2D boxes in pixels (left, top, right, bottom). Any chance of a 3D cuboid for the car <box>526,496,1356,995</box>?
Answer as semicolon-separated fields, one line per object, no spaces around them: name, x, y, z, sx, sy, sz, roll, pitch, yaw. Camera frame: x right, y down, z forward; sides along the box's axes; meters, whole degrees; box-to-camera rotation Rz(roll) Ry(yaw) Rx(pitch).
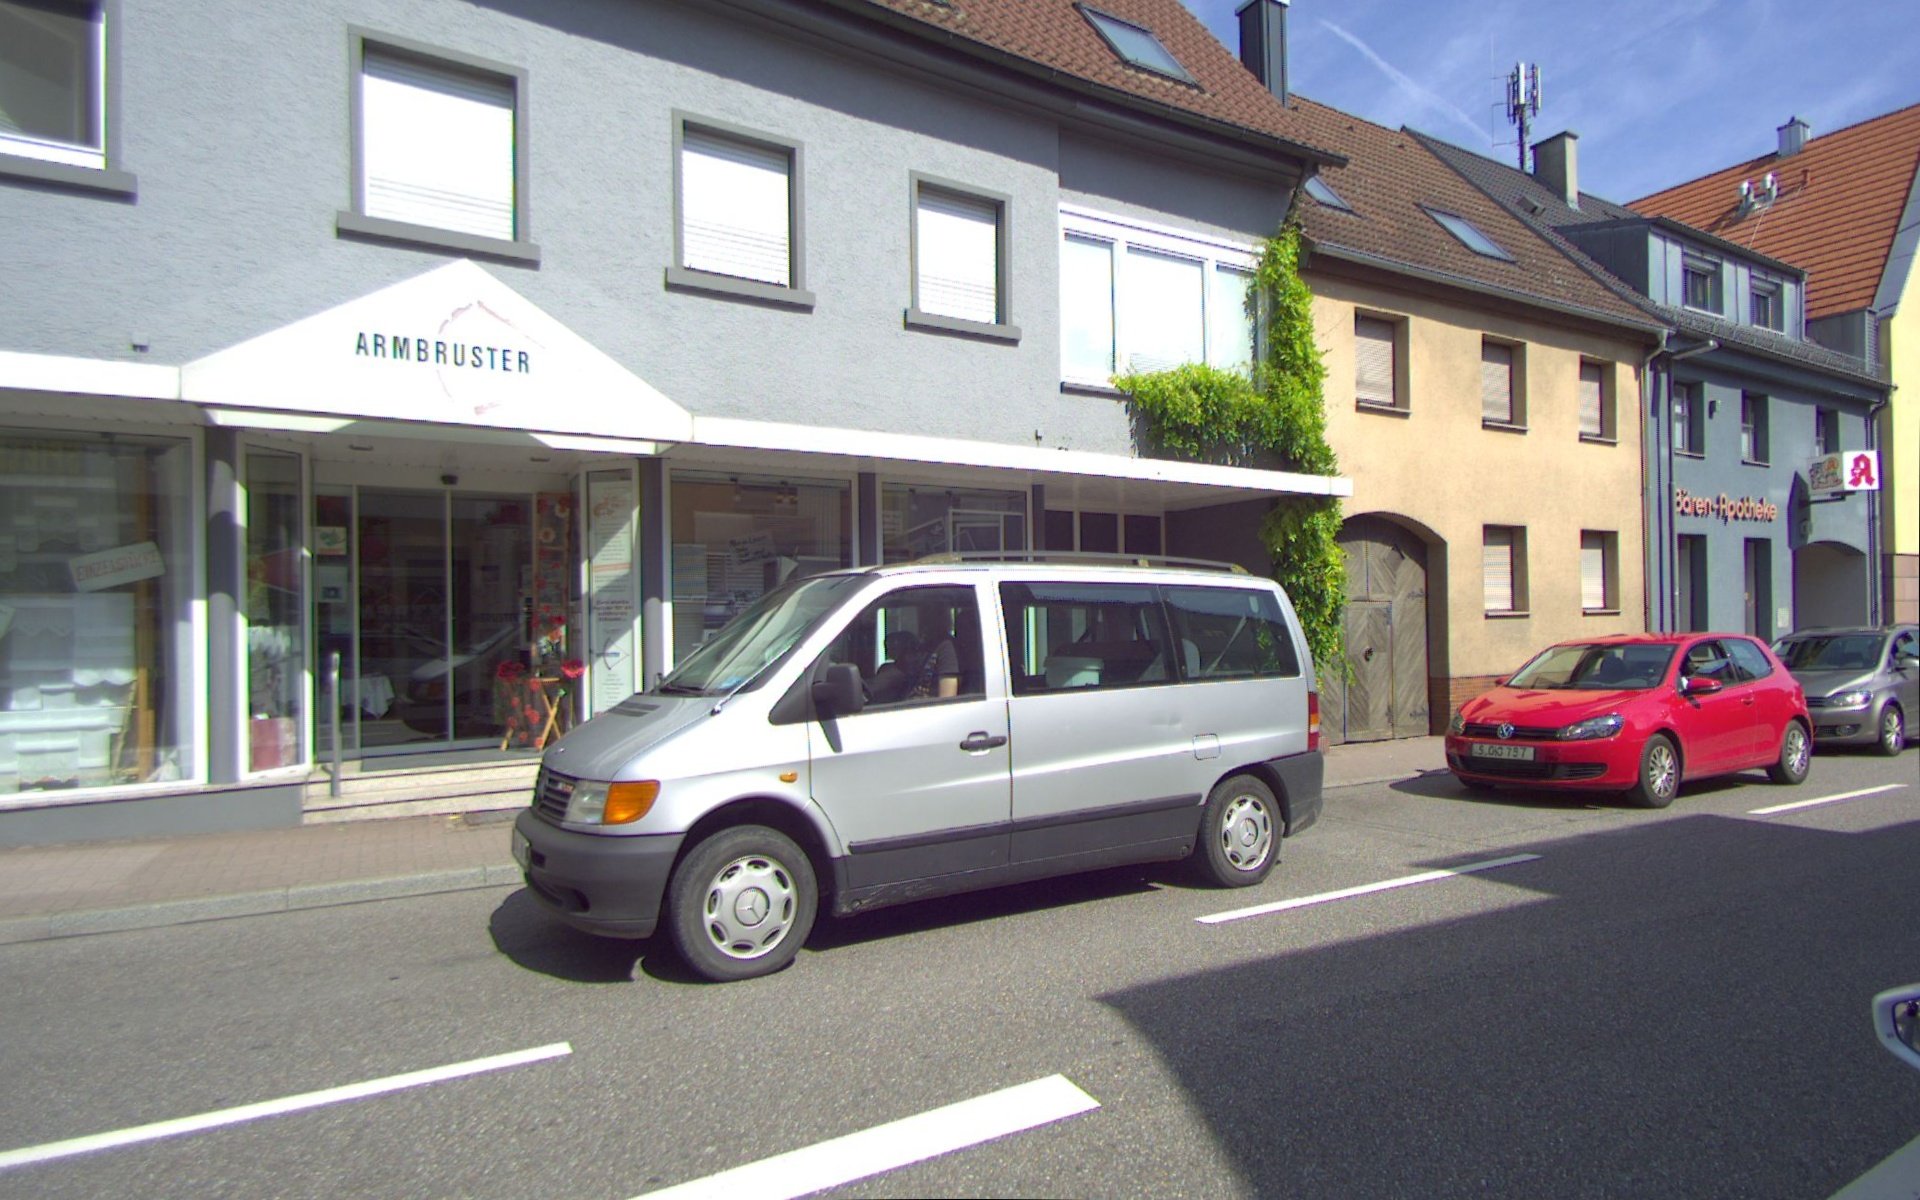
car;0.022;0.634;5.852;4.499;1.915;1.875;1;-4;-31

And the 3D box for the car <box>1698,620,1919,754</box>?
car;11.673;1.062;13.238;3.971;1.540;1.622;1;-3;-30

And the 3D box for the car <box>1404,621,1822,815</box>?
car;6.340;0.991;9.673;4.029;1.512;1.750;1;-3;-31
